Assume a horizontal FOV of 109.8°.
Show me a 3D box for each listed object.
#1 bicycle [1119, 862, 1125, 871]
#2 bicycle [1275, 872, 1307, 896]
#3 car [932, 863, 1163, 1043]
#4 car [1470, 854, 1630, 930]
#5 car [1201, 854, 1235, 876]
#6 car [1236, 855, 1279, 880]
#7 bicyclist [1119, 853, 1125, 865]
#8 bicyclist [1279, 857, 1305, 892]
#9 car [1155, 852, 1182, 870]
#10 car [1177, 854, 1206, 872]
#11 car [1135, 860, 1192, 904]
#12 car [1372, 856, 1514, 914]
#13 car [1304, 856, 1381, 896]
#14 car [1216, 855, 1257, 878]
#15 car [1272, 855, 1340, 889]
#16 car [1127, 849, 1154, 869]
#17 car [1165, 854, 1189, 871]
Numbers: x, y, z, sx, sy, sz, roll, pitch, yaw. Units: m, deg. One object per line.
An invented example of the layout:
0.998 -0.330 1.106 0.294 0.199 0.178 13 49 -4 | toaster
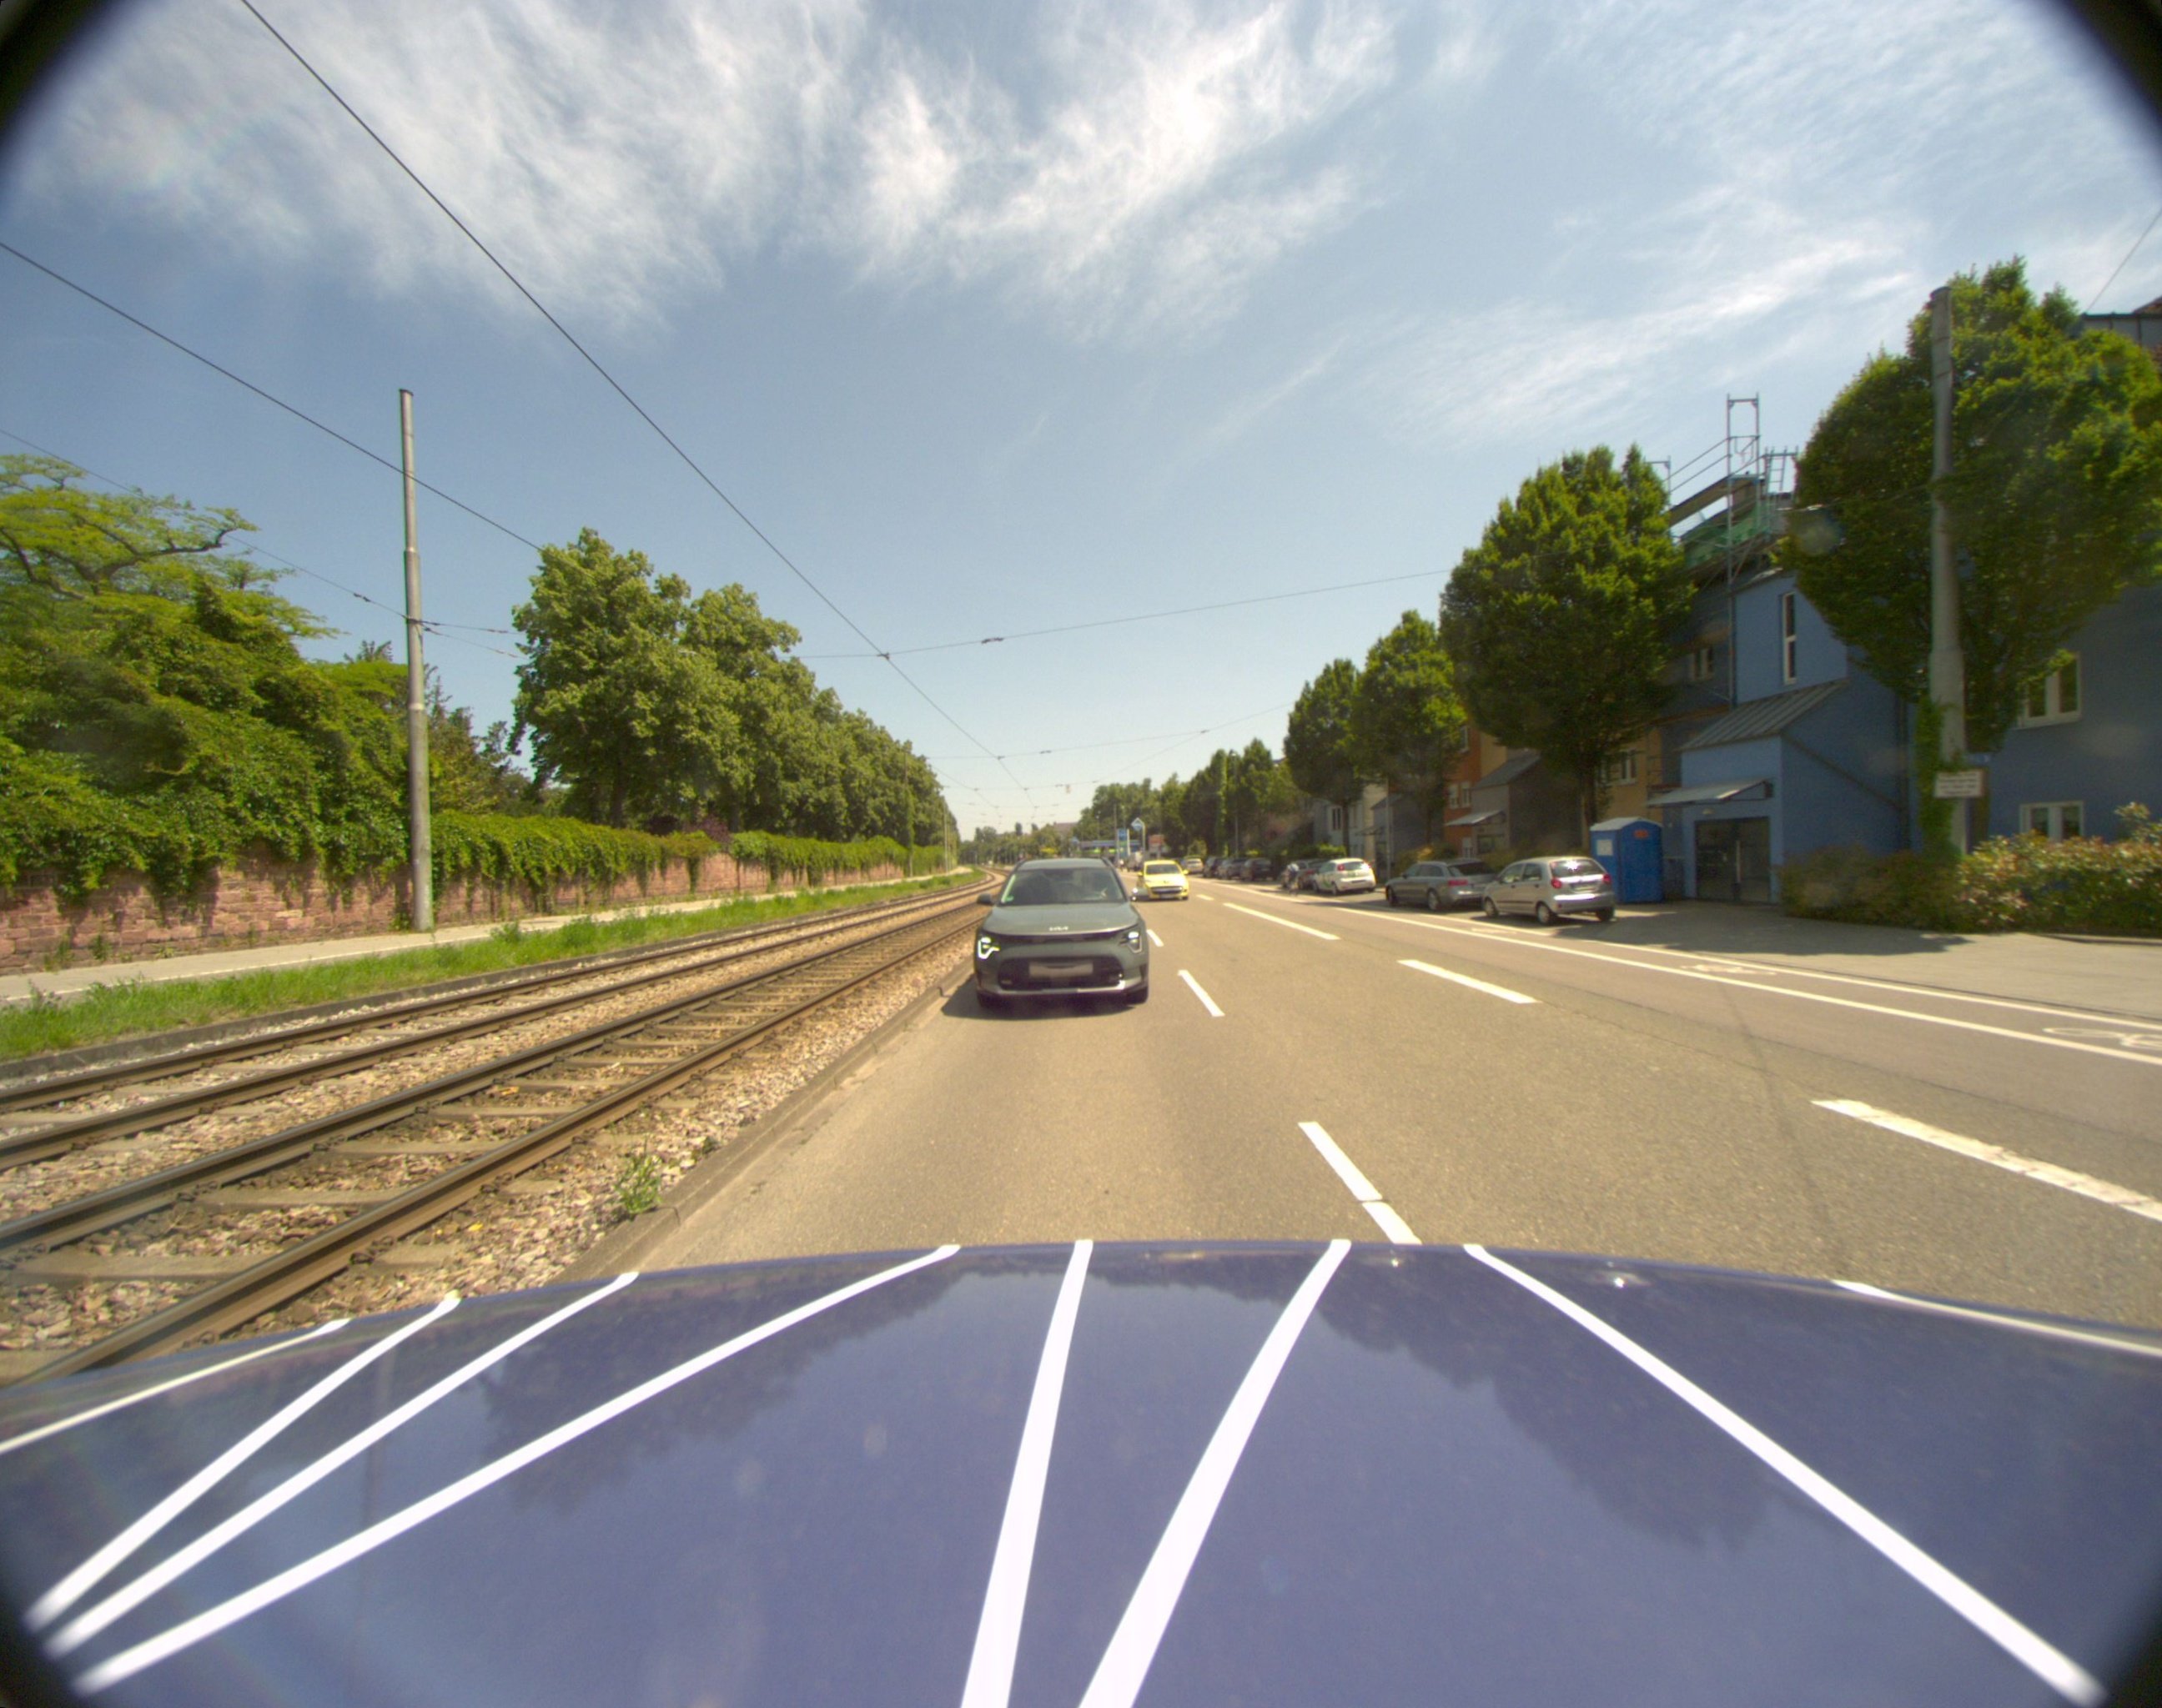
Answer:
5.305 1.665 98.122 0.641 1.089 1.639 1 1 1 | bicycle
8.972 1.267 32.546 0.703 0.945 2.243 1 -1 -2 | bicycle
-0.209 0.954 9.074 2.062 1.533 4.001 -4 0 3 | car
11.014 0.827 18.154 1.597 1.487 3.448 -6 0 1 | car
10.942 0.857 60.987 1.772 1.579 4.147 -3 0 -3 | car
11.521 0.849 49.876 1.754 1.424 4.257 -4 0 0 | car
5.319 0.603 98.062 0.737 1.496 0.737 0 1 1 | bicyclist
8.989 0.866 32.409 0.737 1.422 1.124 2 0 -2 | bicyclist
9.544 0.757 83.410 1.999 1.783 4.556 -2 0 -5 | car
10.472 0.863 72.309 1.845 1.573 4.496 -3 0 -2 | car
2.998 0.989 28.200 1.695 1.403 3.515 -3 0 0 | car
10.954 0.901 23.505 1.791 1.441 5.133 -5 -1 0 | car
11.379 0.915 33.366 1.750 1.434 4.420 -6 0 0 | car
11.196 0.869 55.166 1.830 1.487 4.757 -3 0 -1 | car
11.389 0.880 38.788 1.708 1.421 4.750 -6 0 -3 | car
7.705 0.664 98.346 2.285 2.294 5.226 -3 0 -8 | car
9.869 0.913 78.202 1.604 1.584 3.680 -3 0 -6 | car
